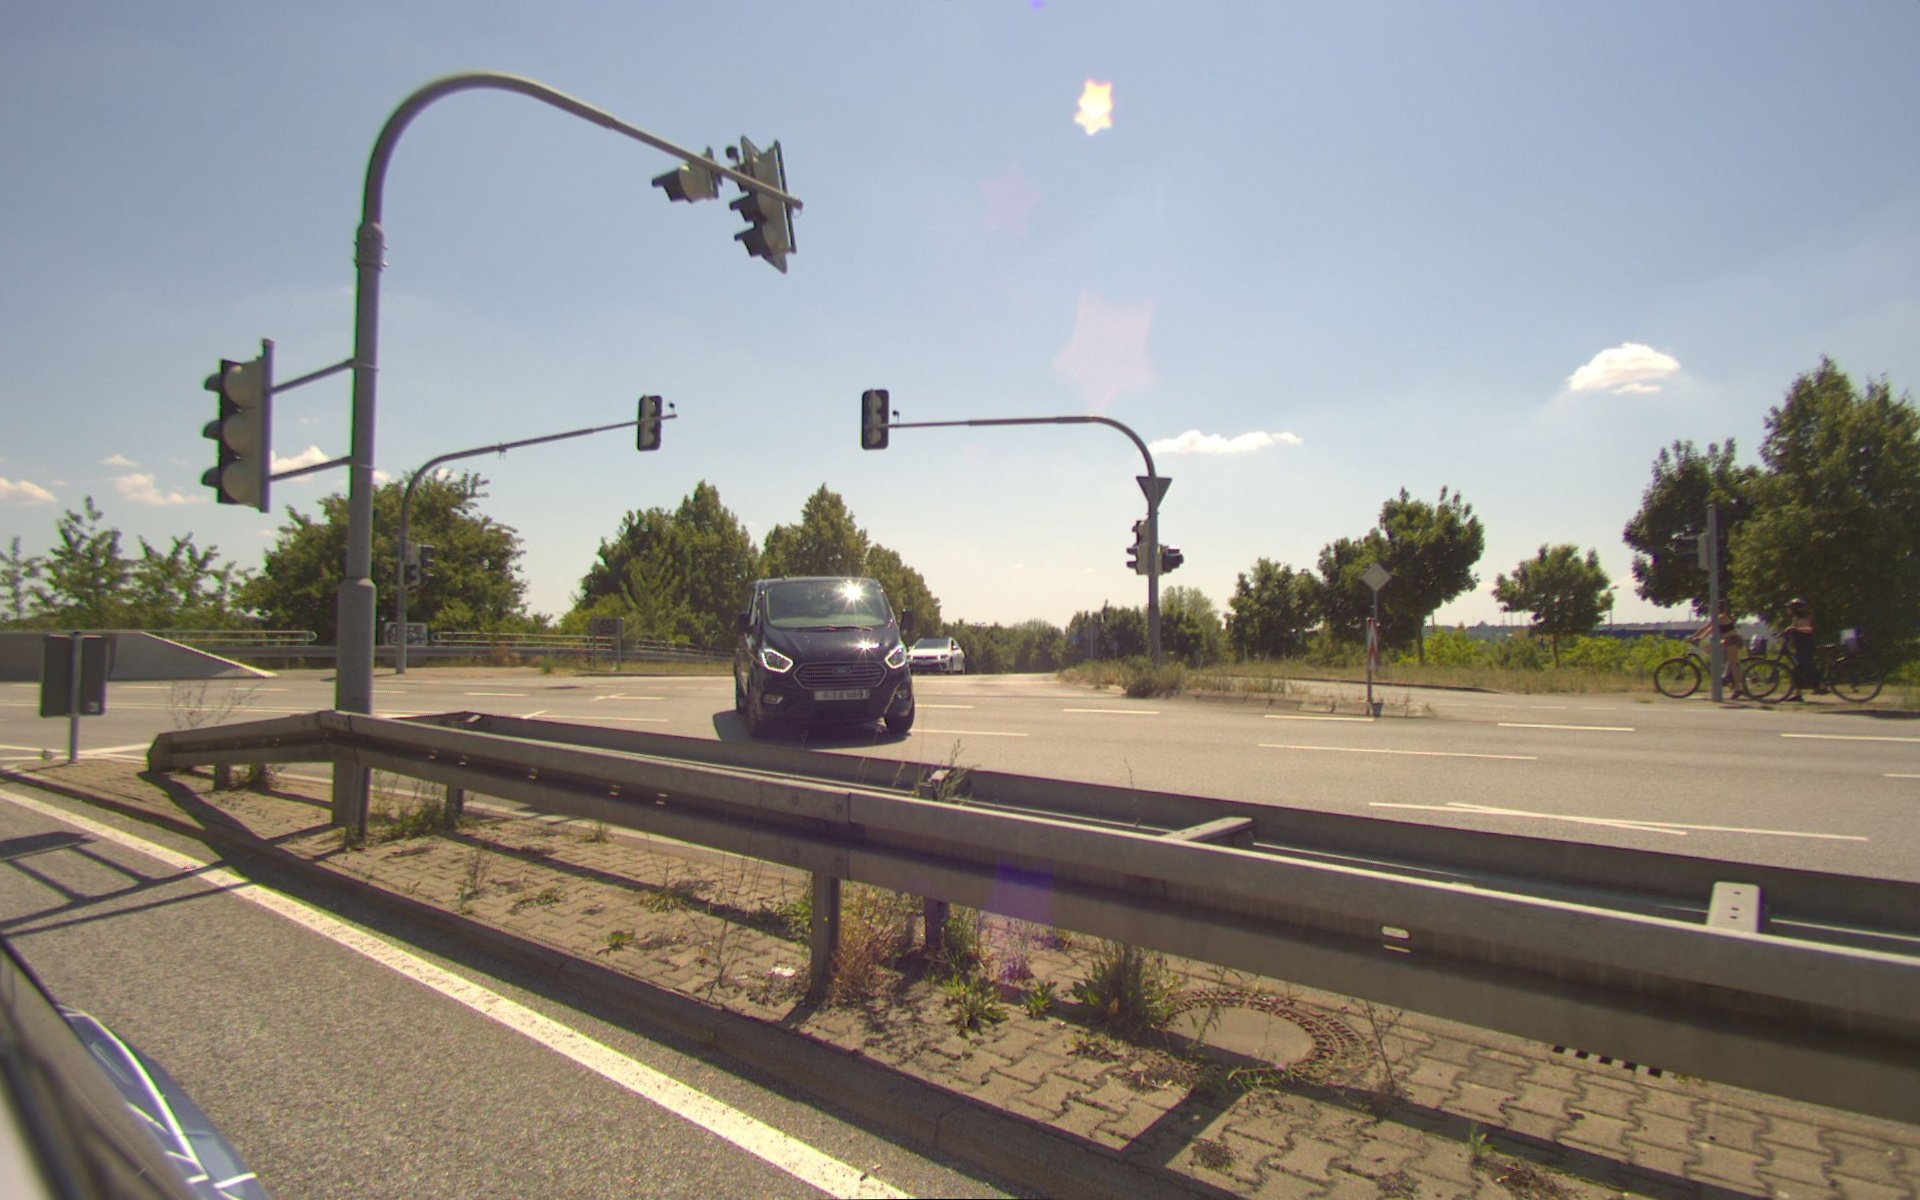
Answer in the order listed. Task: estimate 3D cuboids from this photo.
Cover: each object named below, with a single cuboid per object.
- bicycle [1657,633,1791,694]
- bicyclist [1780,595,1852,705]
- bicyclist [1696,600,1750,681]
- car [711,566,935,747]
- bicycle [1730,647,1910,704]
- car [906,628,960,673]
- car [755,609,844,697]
[{"bbox_3d":[13.558,1.113,18.012,1.822,1.032,0.411,-1,-1,26],"label":"bicycle"},{"bbox_3d":[13.773,0.790,16.295,0.726,1.731,0.527,-1,-1,24],"label":"bicyclist"},{"bbox_3d":[13.571,0.708,18.010,0.681,1.415,0.405,-1,-1,25],"label":"bicyclist"},{"bbox_3d":[-2.125,0.628,13.843,2.089,1.952,5.427,0,0,-18],"label":"car"},{"bbox_3d":[13.789,1.197,16.292,2.114,0.859,0.531,-1,-1,25],"label":"bicycle"},{"bbox_3d":[-0.964,1.841,37.699,1.771,1.540,3.997,-1,-1,2],"label":"car"},{"bbox_3d":[-3.878,1.309,24.954,1.914,1.934,4.539,2,-3,-7],"label":"car"}]
